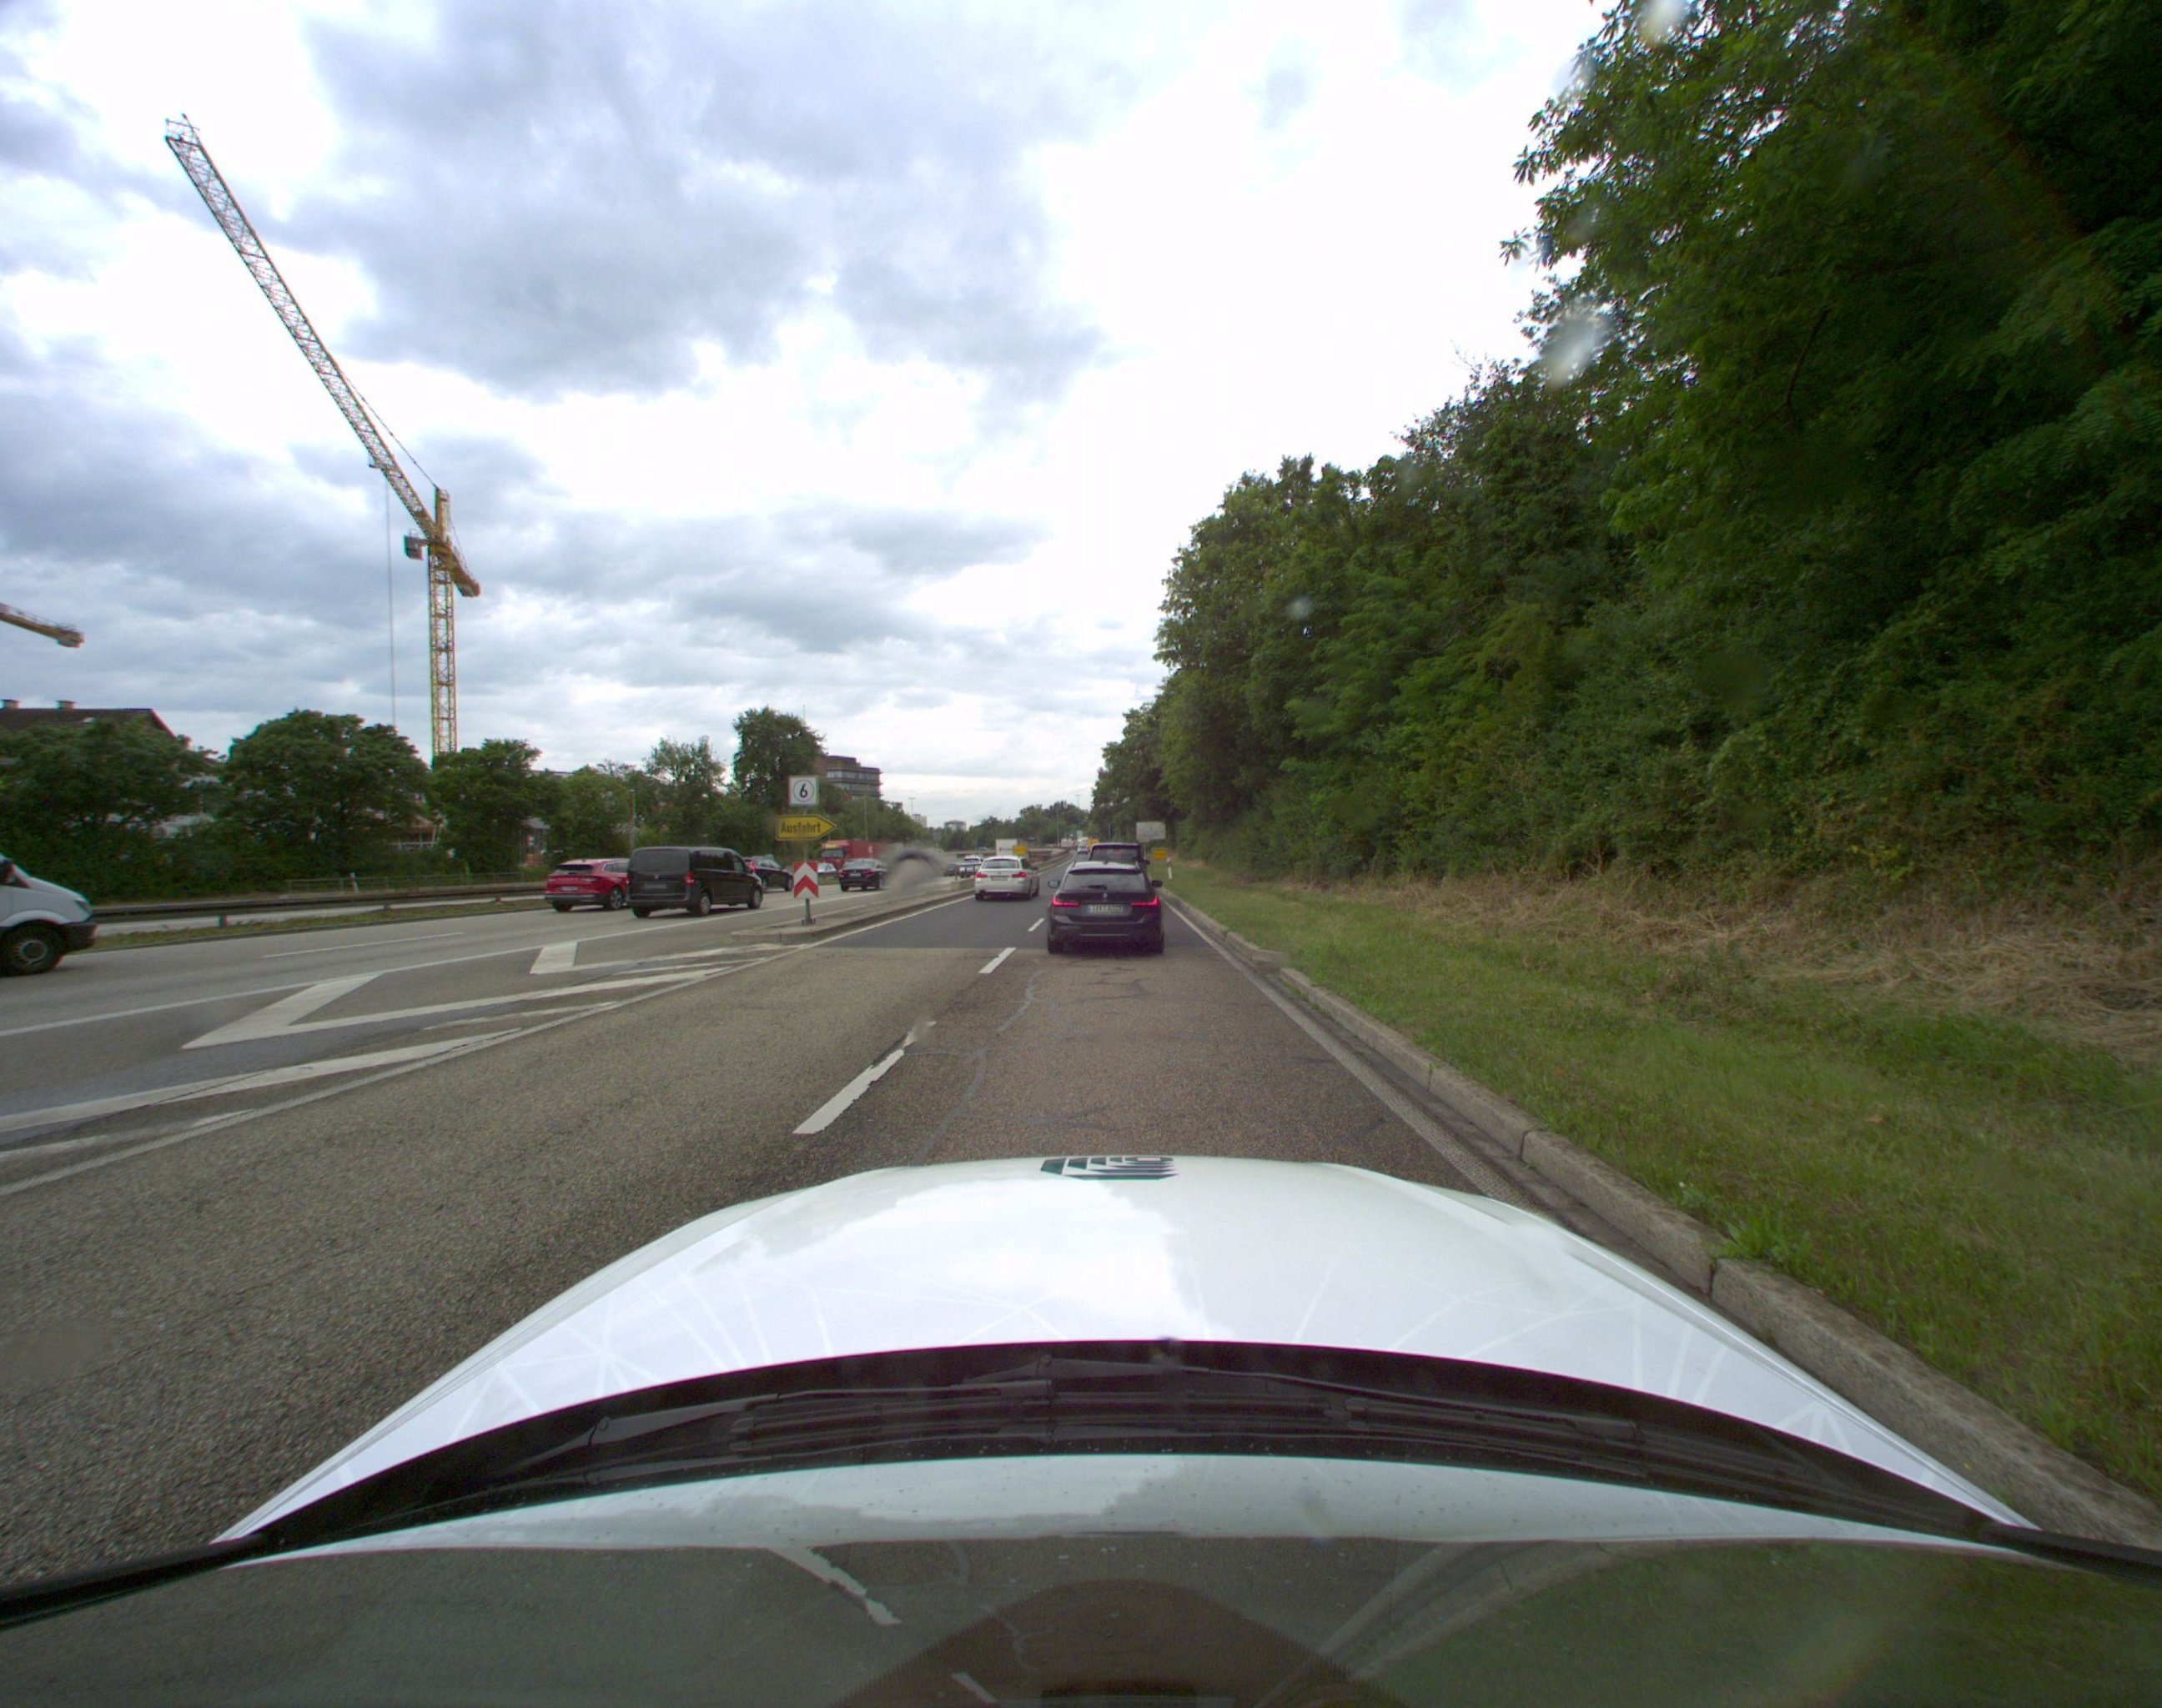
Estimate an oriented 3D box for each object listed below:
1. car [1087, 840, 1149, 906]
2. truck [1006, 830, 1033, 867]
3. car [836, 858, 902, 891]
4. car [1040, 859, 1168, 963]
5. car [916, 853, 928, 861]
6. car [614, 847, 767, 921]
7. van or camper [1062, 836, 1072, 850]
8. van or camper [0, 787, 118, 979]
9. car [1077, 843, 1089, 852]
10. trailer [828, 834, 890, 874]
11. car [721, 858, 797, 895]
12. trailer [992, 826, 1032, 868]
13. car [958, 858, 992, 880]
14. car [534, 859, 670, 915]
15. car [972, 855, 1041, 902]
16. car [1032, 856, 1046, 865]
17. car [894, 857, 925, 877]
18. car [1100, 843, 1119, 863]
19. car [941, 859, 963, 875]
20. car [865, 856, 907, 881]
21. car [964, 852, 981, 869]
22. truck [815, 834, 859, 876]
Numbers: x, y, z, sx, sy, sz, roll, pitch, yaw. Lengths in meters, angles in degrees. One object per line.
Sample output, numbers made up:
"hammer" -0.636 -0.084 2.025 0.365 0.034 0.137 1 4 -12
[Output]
"car" 1.160 0.553 25.619 1.789 1.872 4.002 -1 0 2
"truck" -7.970 -0.726 106.107 3.072 4.697 4.234 0 0 2
"car" -10.116 0.949 39.227 1.706 1.457 4.670 -1 0 3
"car" 0.347 0.830 13.753 1.840 1.467 4.000 0 0 0
"car" -33.728 0.637 173.207 1.649 1.836 3.624 -1 0 2
"car" -10.933 0.768 23.260 1.987 1.851 4.812 -1 0 1
"van or camper" -2.770 -2.194 162.073 1.987 2.821 3.999 -1 0 -1
"van or camper" -15.833 0.419 8.960 2.041 2.621 6.958 -1 0 1
"car" 0.421 -1.234 150.142 1.922 1.596 3.880 -1 0 3
"trailer" -24.488 0.023 90.771 2.754 4.064 13.360 -1 0 2
"car" -15.149 1.006 38.587 1.745 1.635 4.269 -1 0 2
"trailer" -8.213 -0.747 98.969 3.121 4.725 14.564 0 0 2
"car" -8.725 1.213 67.296 1.938 1.692 4.510 -1 0 2
"car" -15.042 0.976 25.851 1.759 1.567 3.948 -1 0 3
"car" -2.511 0.795 28.604 1.852 1.464 4.885 0 0 1
"car" -10.455 1.578 200.465 3.198 2.028 5.066 -1 0 -5
"car" -14.306 1.090 68.206 1.681 1.608 4.008 0 0 1
"car" 2.253 -0.097 65.174 1.447 1.540 3.226 -1 0 2
"car" -13.861 1.397 87.610 1.681 1.632 3.735 0 0 1
"car" -13.962 1.008 58.486 1.884 1.681 4.307 -1 0 1
"car" -13.322 0.824 100.280 1.437 2.044 3.683 -1 0 3
"truck" -24.800 0.094 83.019 2.752 4.064 4.909 -1 0 2
